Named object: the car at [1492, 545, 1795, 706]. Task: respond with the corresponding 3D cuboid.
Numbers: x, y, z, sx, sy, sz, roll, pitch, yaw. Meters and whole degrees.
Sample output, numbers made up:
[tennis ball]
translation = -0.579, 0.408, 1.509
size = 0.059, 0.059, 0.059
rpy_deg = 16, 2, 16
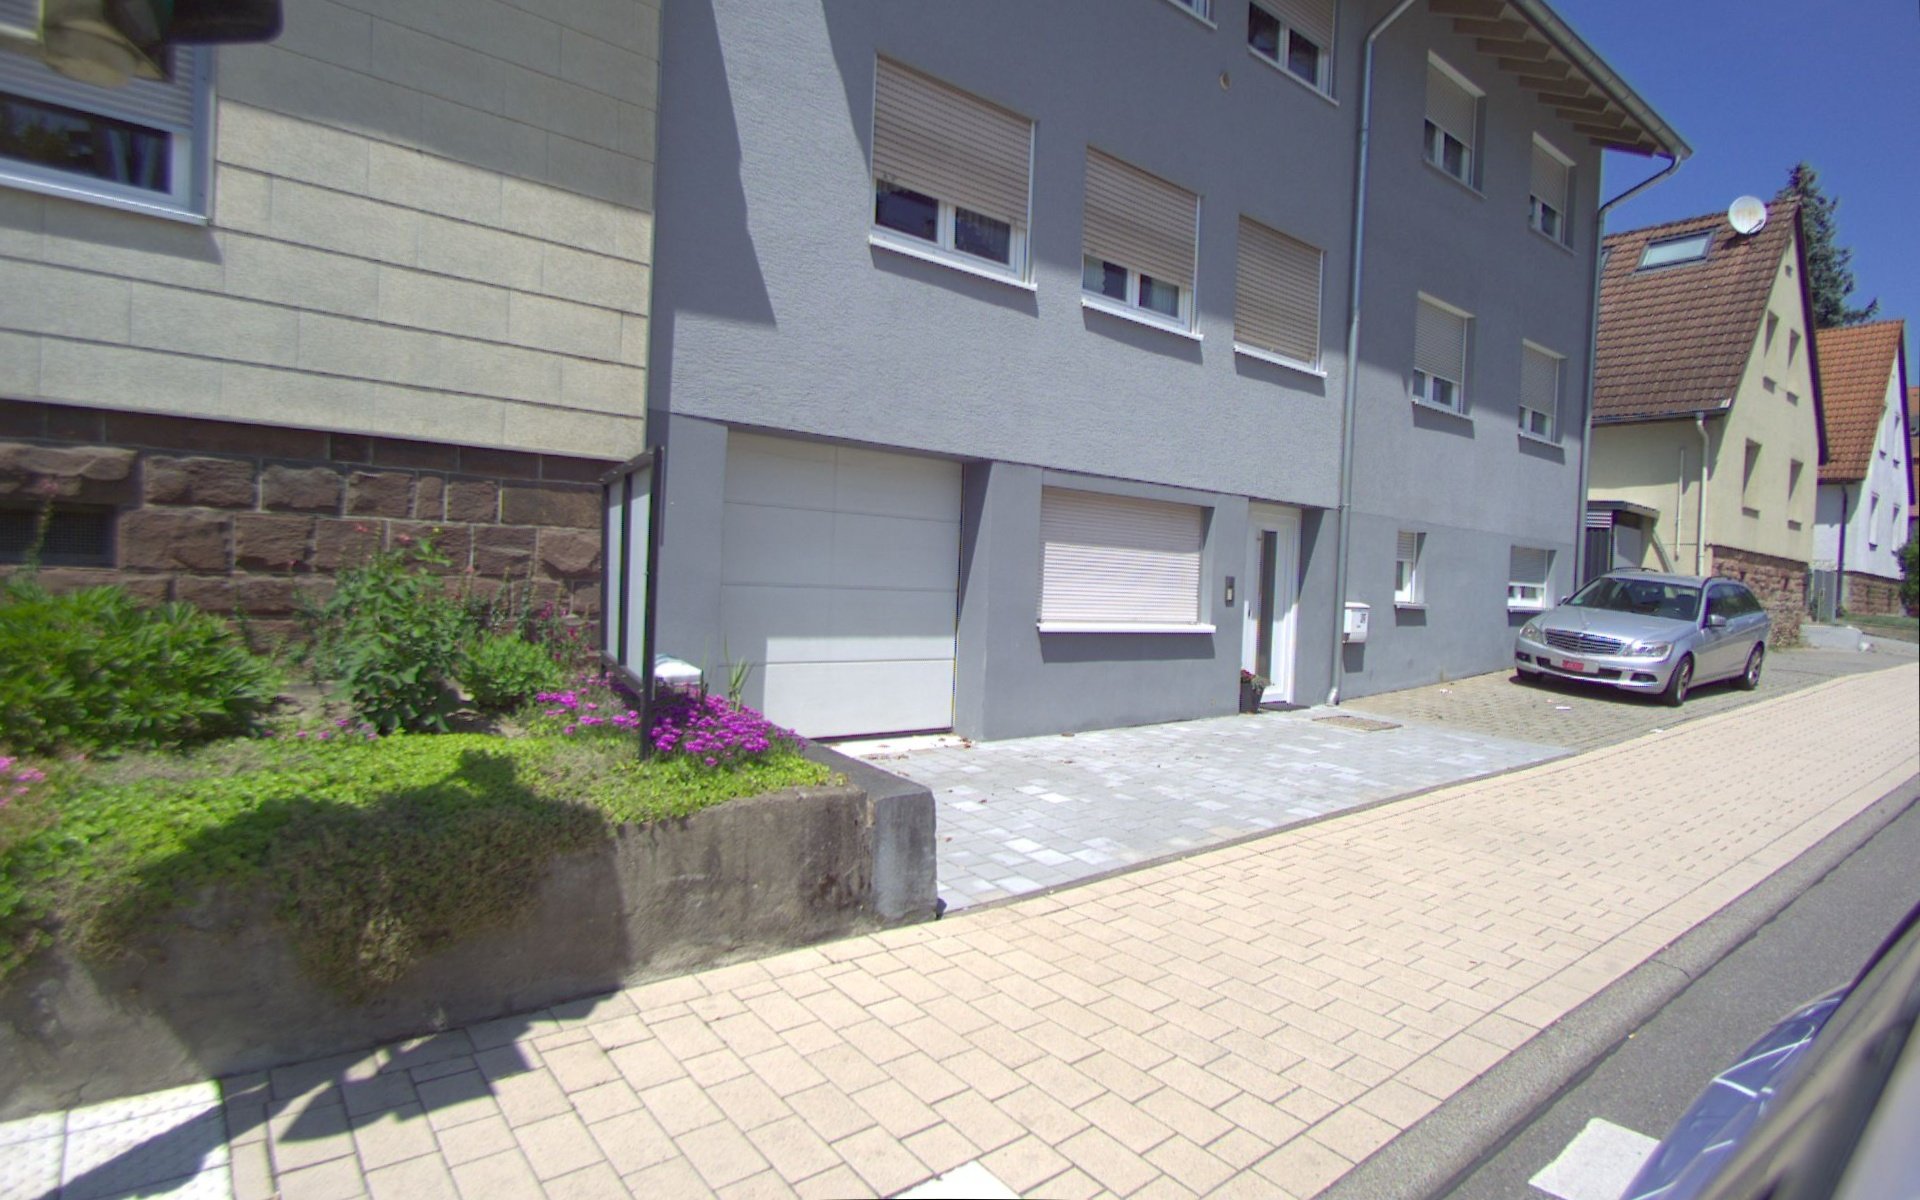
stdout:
[car]
translation = 8.866, 0.215, 12.989
size = 4.426, 1.640, 1.869
rpy_deg = -1, 6, -38
